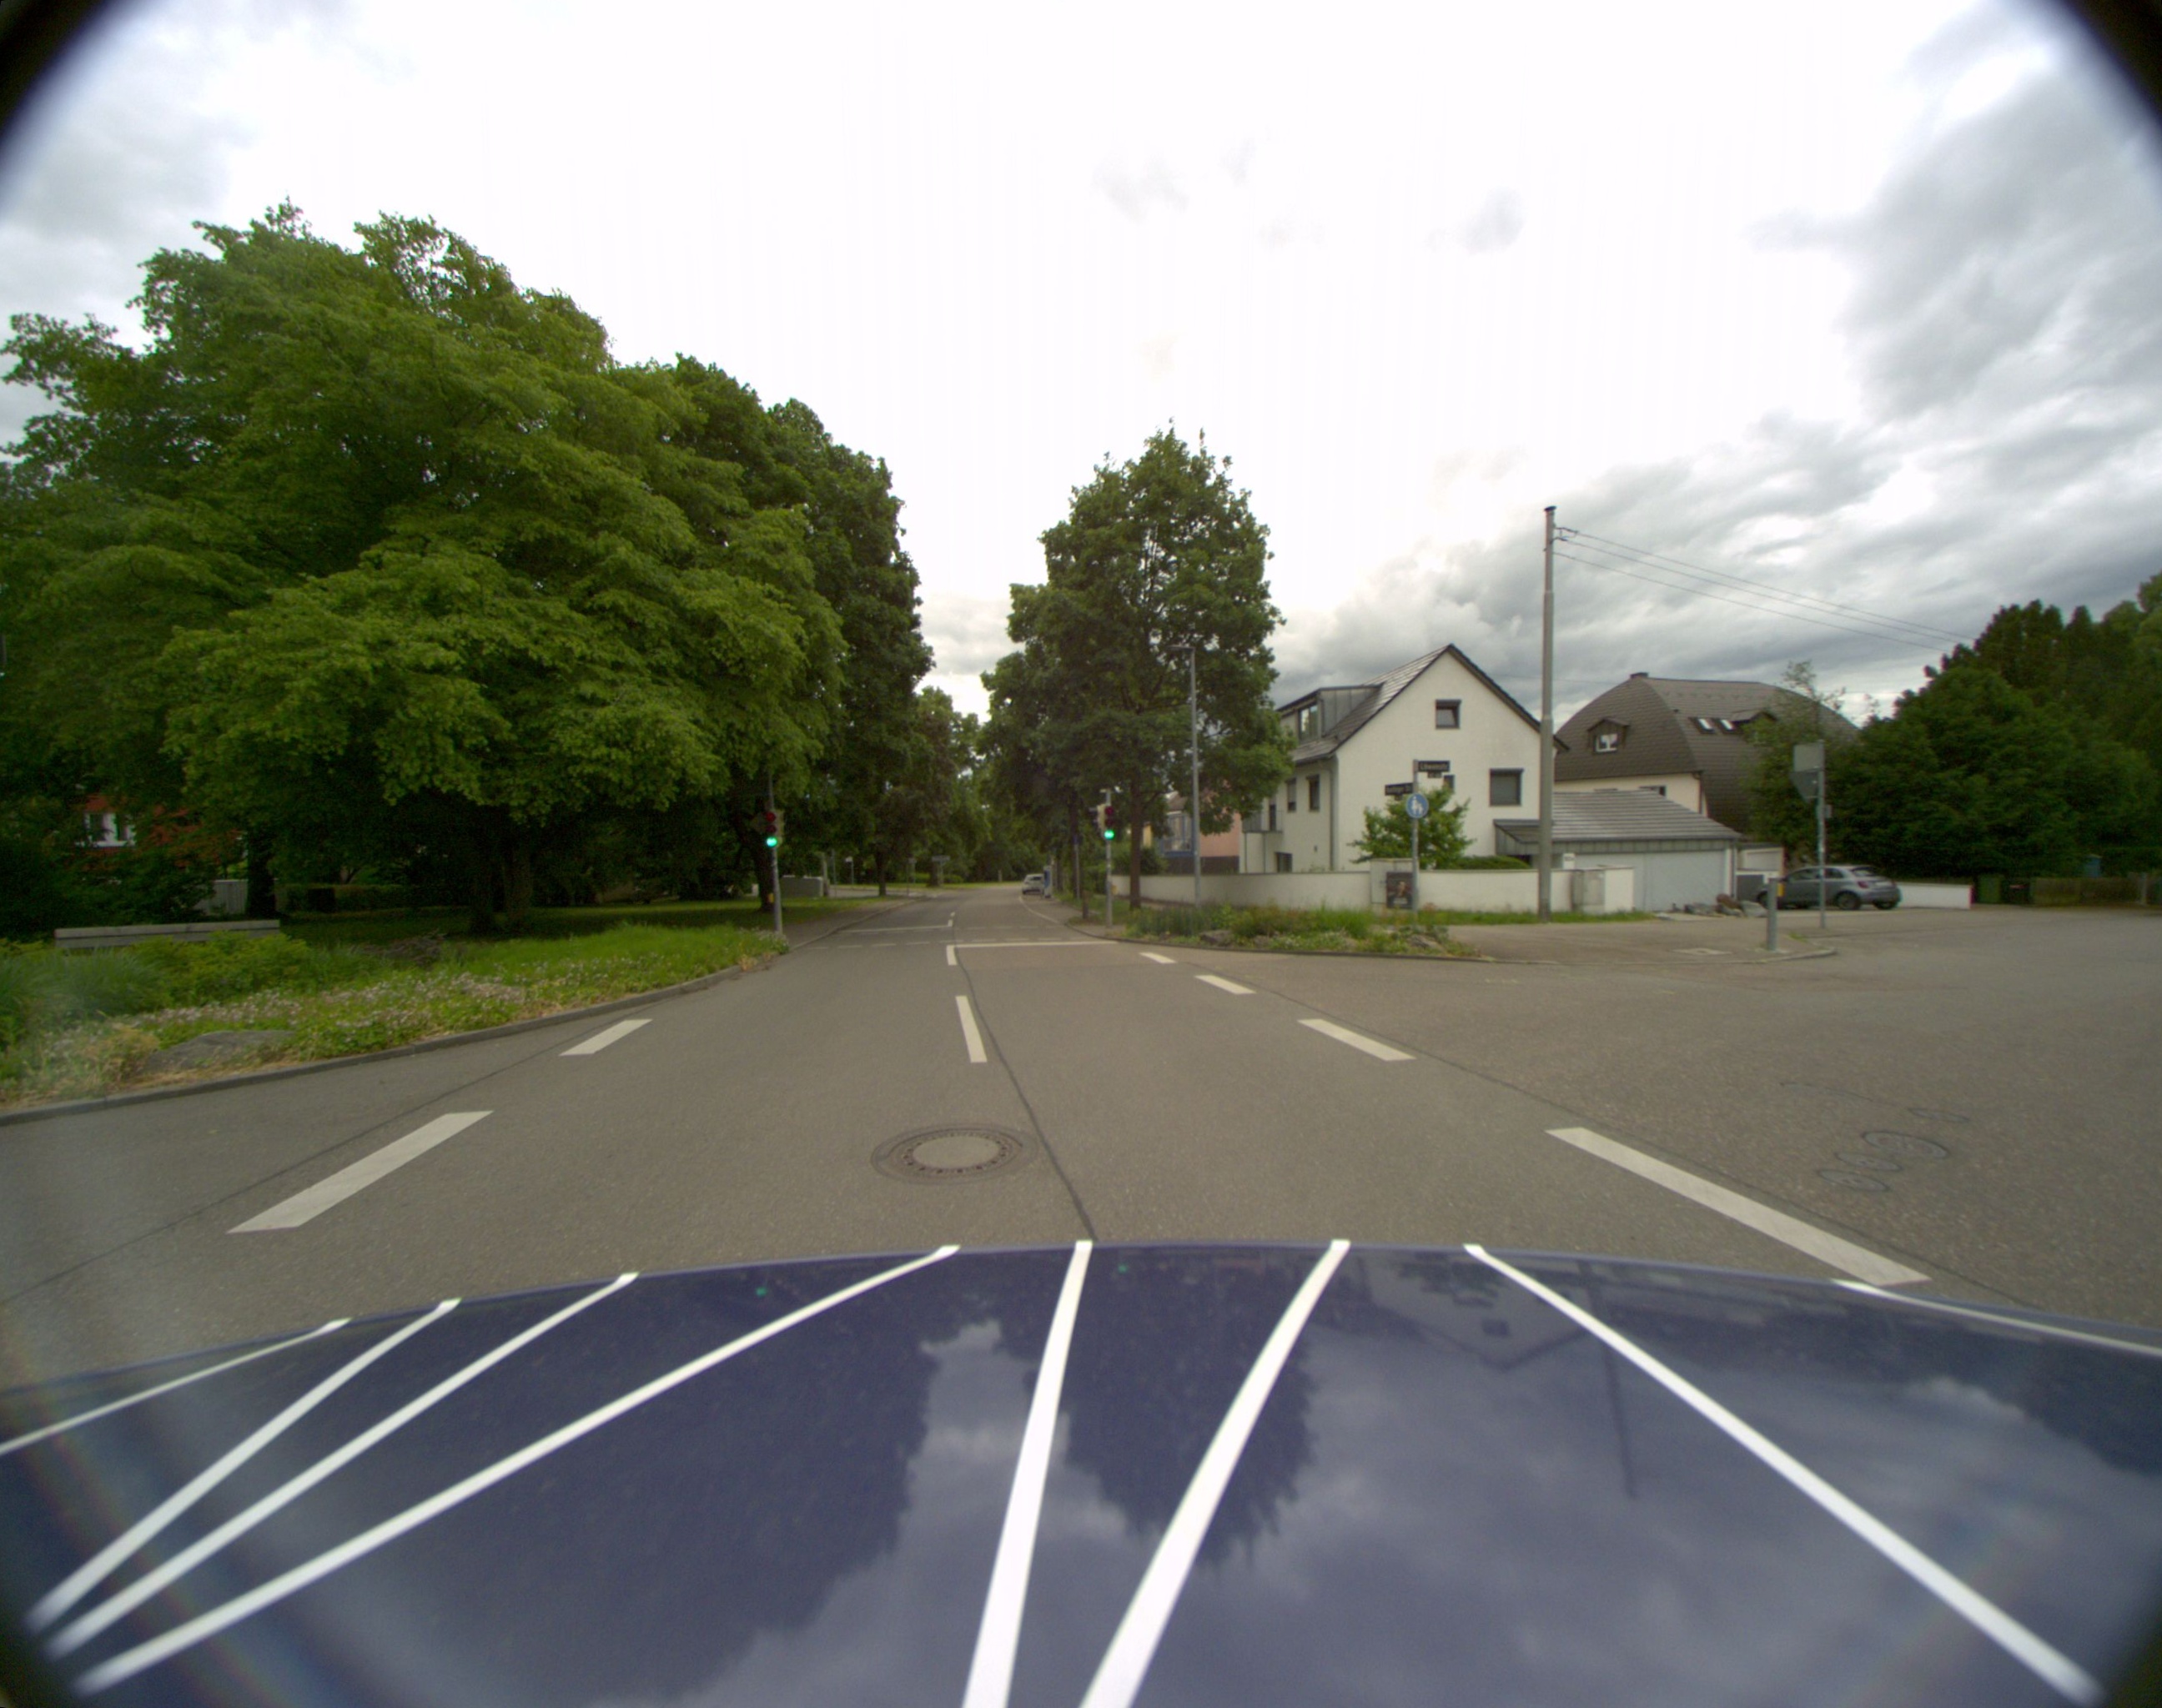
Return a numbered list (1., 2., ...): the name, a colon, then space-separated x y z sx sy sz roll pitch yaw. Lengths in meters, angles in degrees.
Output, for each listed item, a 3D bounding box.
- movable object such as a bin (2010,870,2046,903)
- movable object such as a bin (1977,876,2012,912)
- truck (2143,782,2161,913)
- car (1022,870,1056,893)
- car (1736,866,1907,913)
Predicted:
1. movable object such as a bin: 32.540 1.108 26.100 0.953 1.098 0.598 3 -3 -28
2. movable object such as a bin: 32.196 1.409 26.788 0.953 1.200 0.598 3 -3 -28
3. truck: 41.330 -0.154 26.852 7.965 4.526 3.147 0 2 -28
4. car: -3.151 2.077 57.810 1.998 1.543 4.001 1 1 4
5. car: 25.068 1.228 25.914 1.693 1.487 3.857 0 -3 -12
